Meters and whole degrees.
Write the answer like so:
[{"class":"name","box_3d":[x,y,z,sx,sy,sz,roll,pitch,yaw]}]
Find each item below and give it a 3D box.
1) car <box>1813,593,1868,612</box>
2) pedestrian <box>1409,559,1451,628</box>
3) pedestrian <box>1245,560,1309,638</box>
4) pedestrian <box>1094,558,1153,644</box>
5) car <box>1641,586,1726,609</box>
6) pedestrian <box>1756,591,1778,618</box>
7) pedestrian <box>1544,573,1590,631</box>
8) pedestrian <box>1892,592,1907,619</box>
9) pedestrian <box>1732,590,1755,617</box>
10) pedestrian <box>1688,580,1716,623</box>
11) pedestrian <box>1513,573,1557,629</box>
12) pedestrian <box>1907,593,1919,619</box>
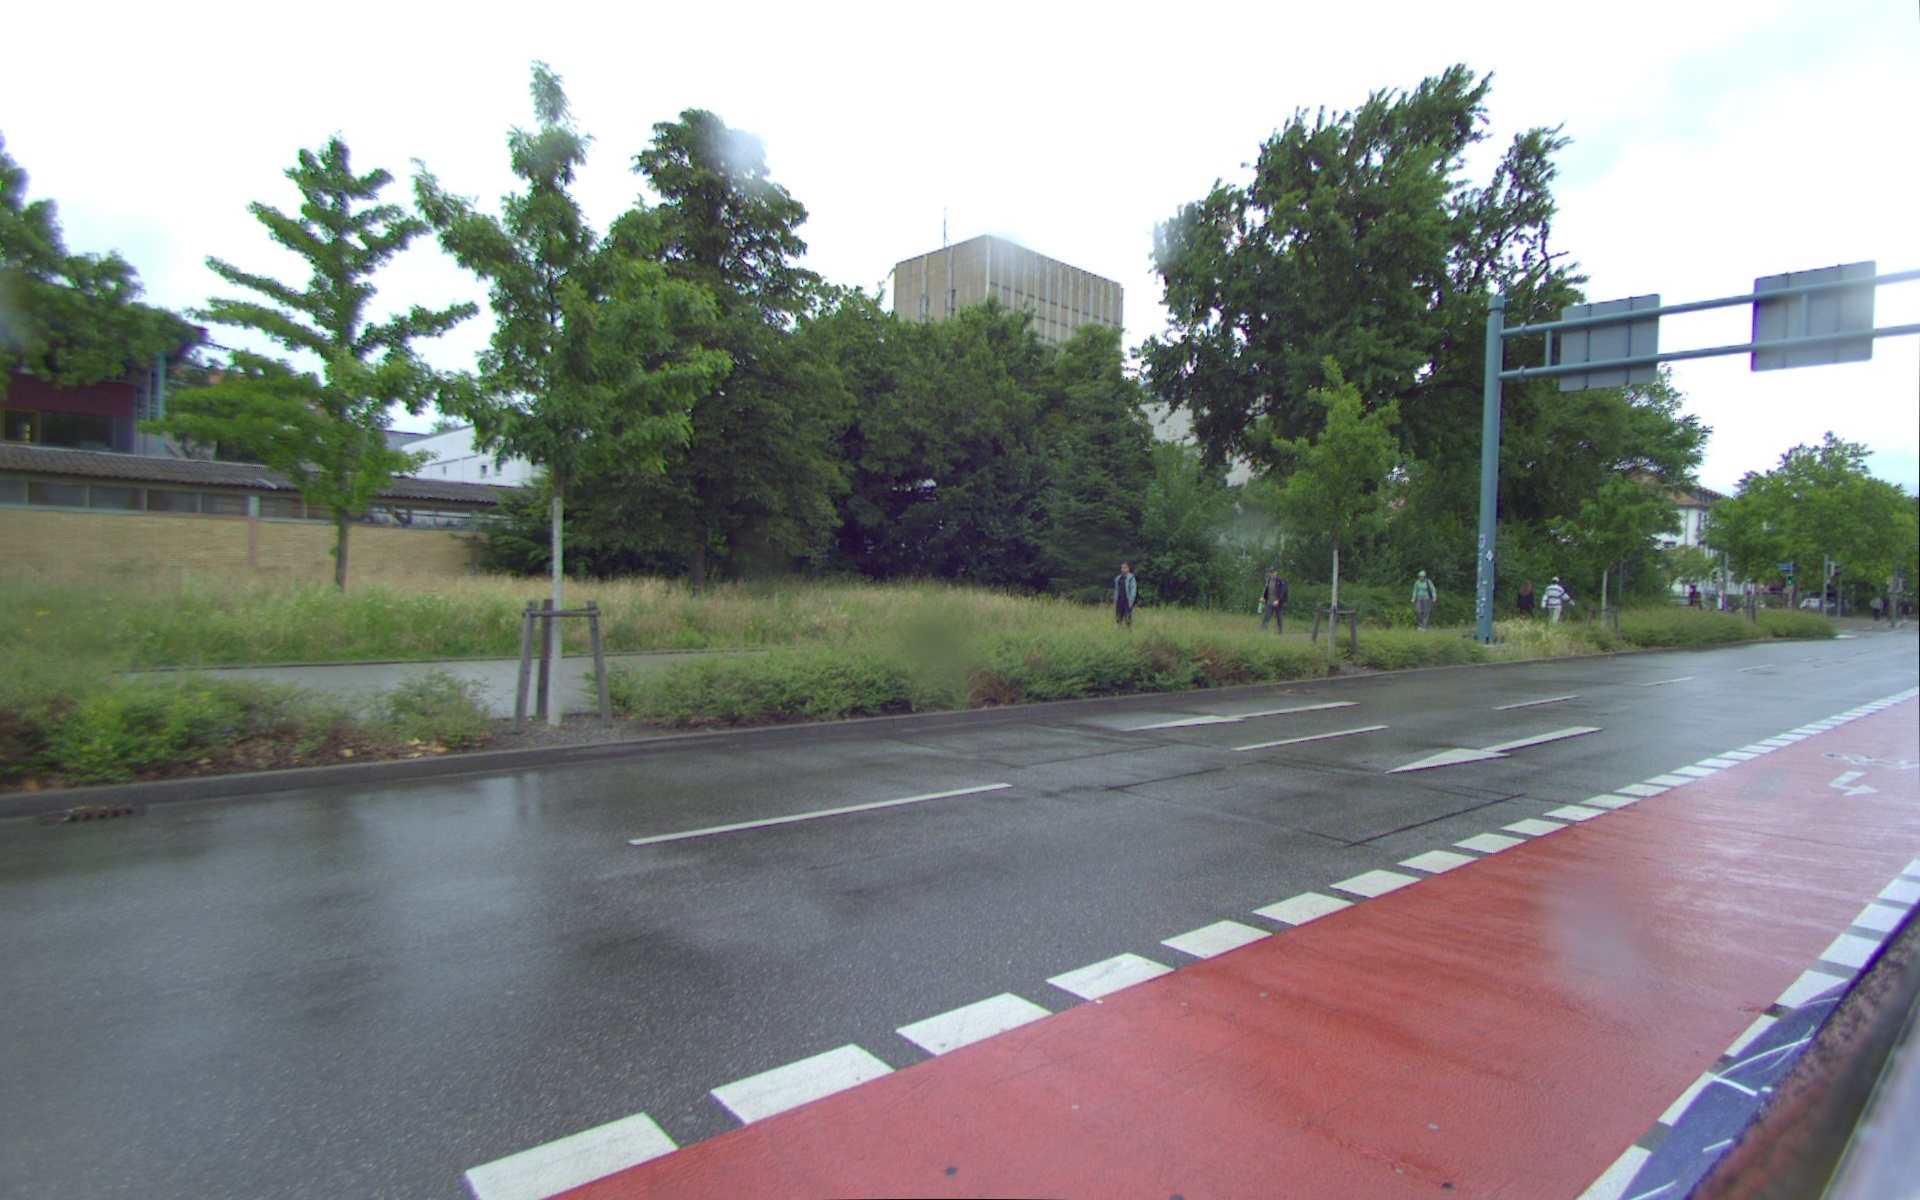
[{"class":"car","box_3d":[95.541,0.230,109.841,4.411,1.896,1.613,3,2,42]},{"class":"pedestrian","box_3d":[14.141,-0.212,30.438,0.813,2.039,0.793,1,1,-34]},{"class":"pedestrian","box_3d":[7.455,-0.038,23.808,1.025,1.769,0.937,1,1,-34]},{"class":"pedestrian","box_3d":[3.562,0.005,22.090,0.813,1.819,0.937,1,1,-34]},{"class":"car","box_3d":[48.617,-0.209,68.038,1.744,1.353,4.380,-3,4,-43]},{"class":"pedestrian","box_3d":[49.246,0.258,61.772,0.869,1.627,0.855,2,1,28]},{"class":"pedestrian","box_3d":[18.799,0.064,31.343,0.813,1.743,0.936,4,-2,-36]},{"class":"pedestrian","box_3d":[66.667,0.376,71.839,0.621,1.847,0.777,2,1,35]},{"class":"pedestrian","box_3d":[48.434,0.220,62.543,0.867,1.627,0.857,2,1,22]},{"class":"pedestrian","box_3d":[33.289,0.079,45.395,0.834,1.882,0.732,1,1,-34]},{"class":"pedestrian","box_3d":[18.319,0.037,32.256,0.813,1.726,0.936,4,-2,-36]},{"class":"pedestrian","box_3d":[67.695,0.411,71.698,0.619,1.847,0.779,2,1,27]}]
